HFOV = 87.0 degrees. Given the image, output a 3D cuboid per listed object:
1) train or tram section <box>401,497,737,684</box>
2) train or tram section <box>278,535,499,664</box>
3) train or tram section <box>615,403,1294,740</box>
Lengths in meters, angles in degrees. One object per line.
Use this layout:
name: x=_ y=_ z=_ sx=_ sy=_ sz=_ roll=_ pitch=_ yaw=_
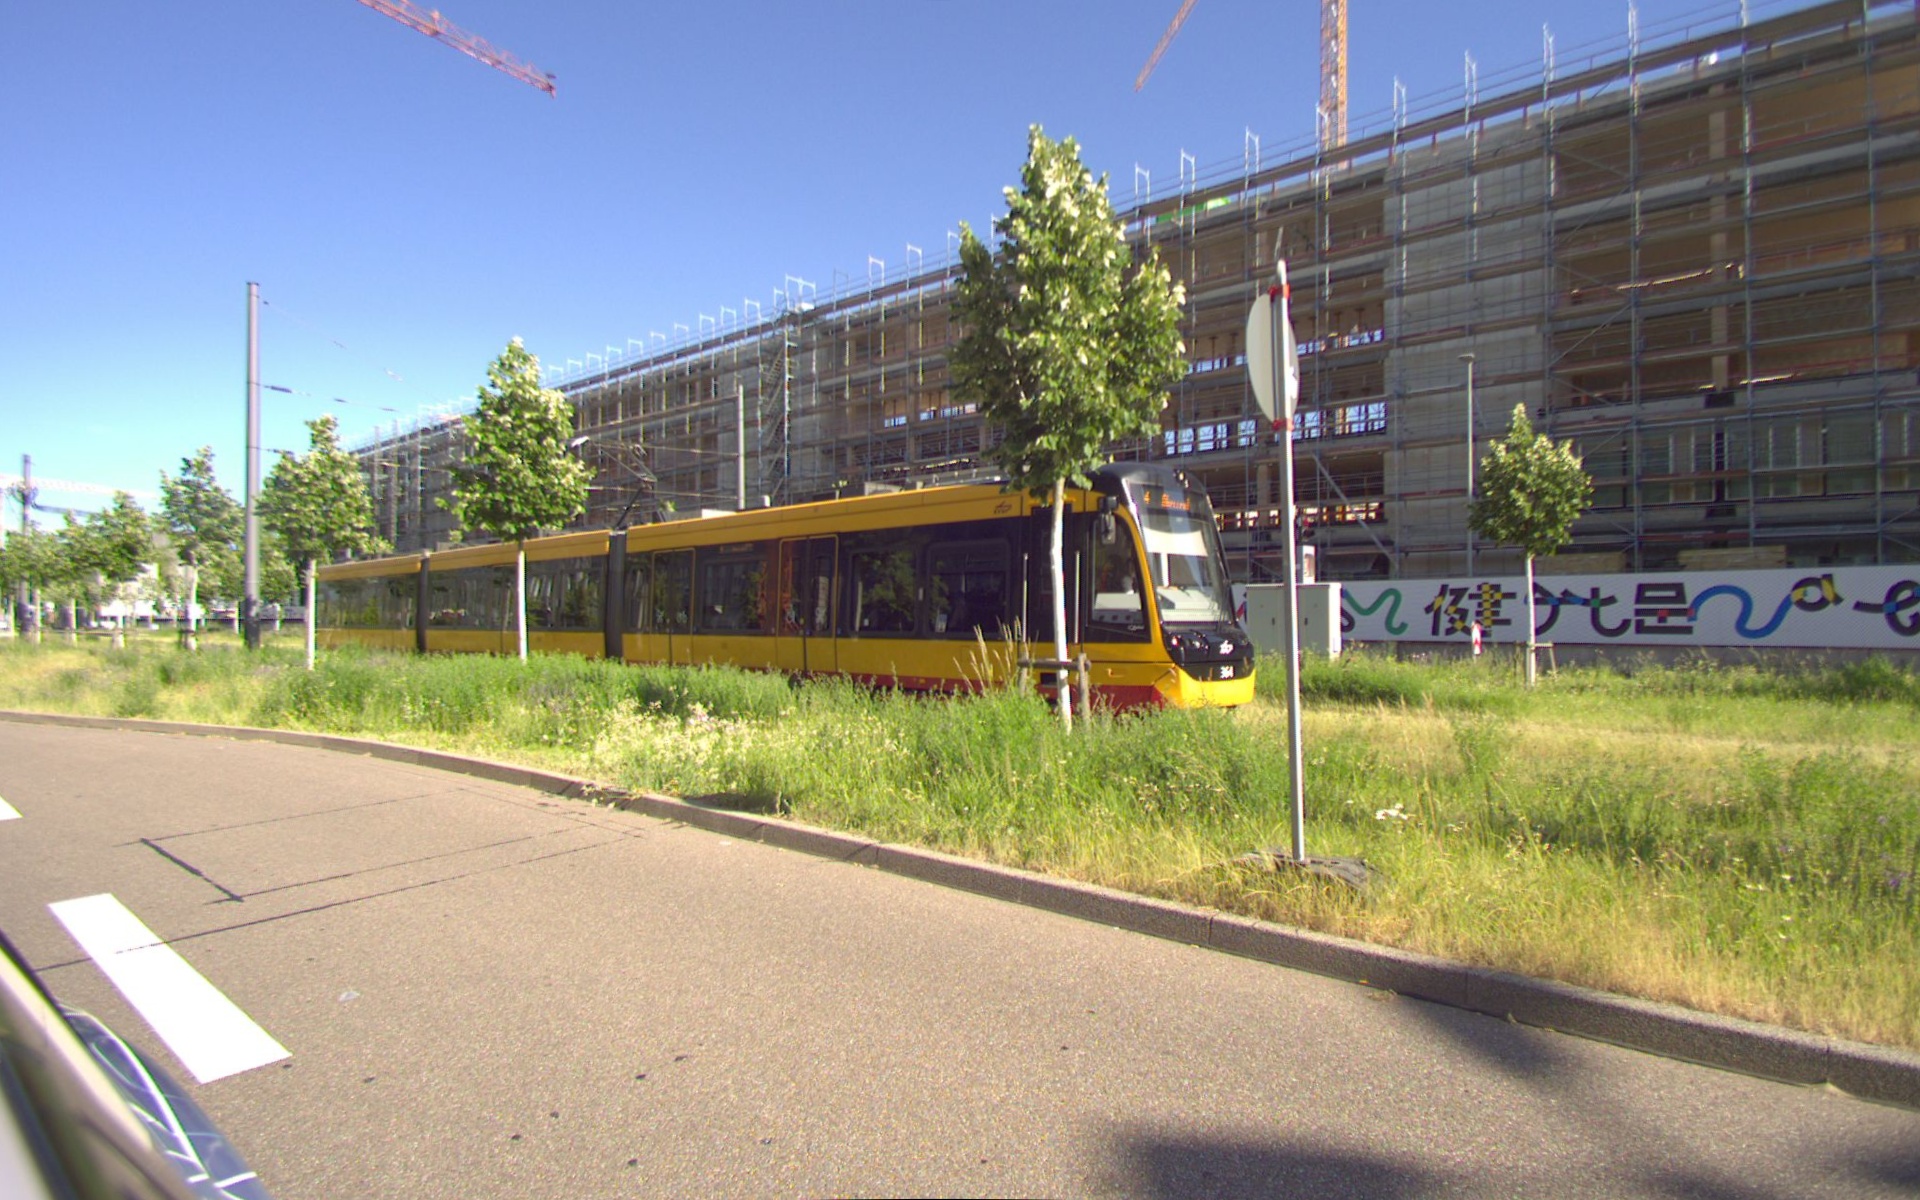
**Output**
train or tram section: x=-10.363 y=-0.076 z=25.373 sx=12.793 sy=3.666 sz=2.784 roll=-1 pitch=-2 yaw=44
train or tram section: x=-19.665 y=0.086 z=34.177 sx=12.790 sy=3.666 sz=2.784 roll=-1 pitch=-2 yaw=43
train or tram section: x=-1.255 y=-0.208 z=16.481 sx=12.793 sy=3.666 sz=2.784 roll=-1 pitch=-2 yaw=44
